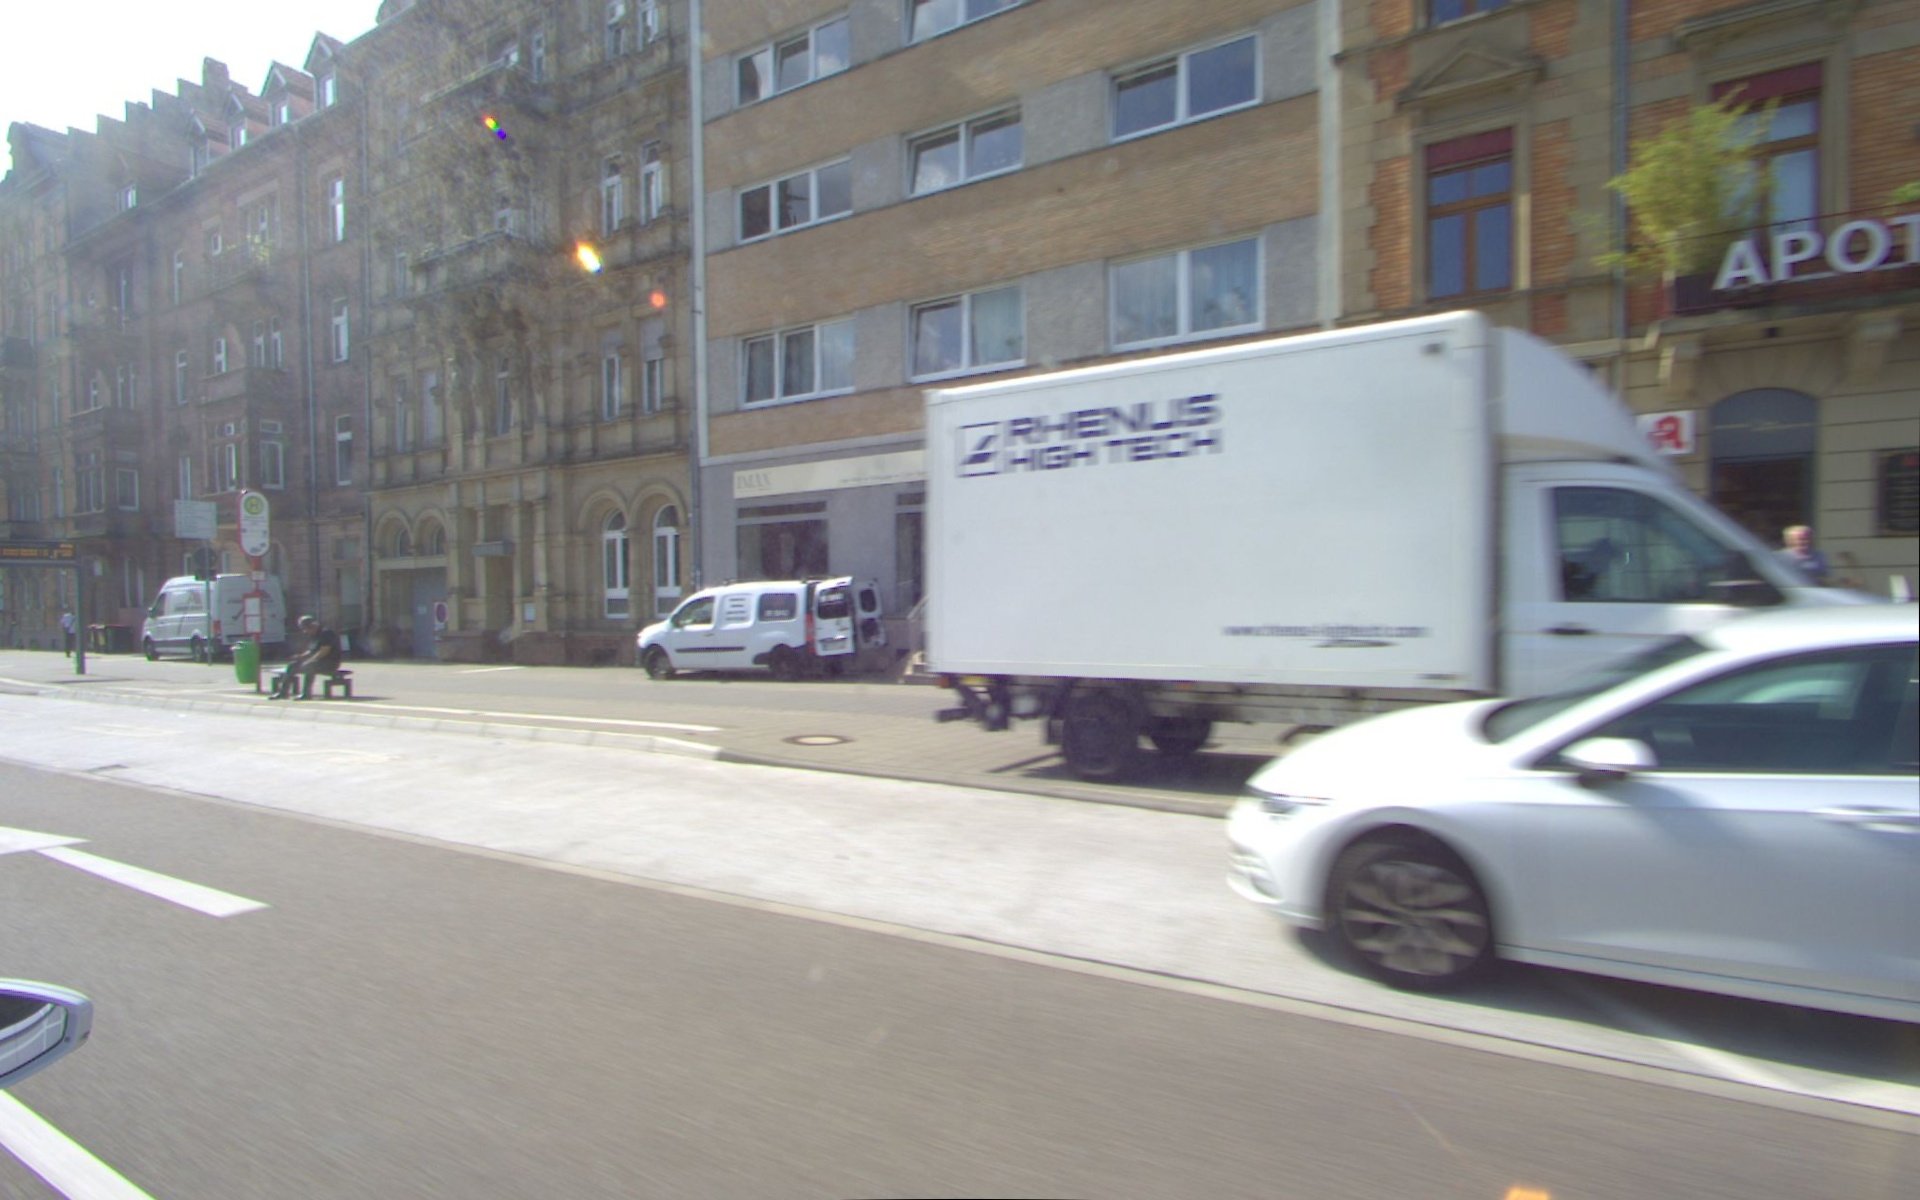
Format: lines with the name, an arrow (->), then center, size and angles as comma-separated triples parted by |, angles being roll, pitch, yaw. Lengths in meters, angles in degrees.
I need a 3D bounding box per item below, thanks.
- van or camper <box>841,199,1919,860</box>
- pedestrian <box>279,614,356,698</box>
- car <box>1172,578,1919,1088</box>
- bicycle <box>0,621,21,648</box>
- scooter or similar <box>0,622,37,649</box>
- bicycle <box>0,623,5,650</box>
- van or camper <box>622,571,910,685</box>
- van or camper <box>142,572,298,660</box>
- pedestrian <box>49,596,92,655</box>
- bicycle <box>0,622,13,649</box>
van or camper -> 2.821, -0.297, 8.130 | 7.534, 3.375, 2.705 | -1, 0, 34
pedestrian -> -10.491, 0.911, 16.367 | 0.806, 1.333, 0.745 | 0, -1, -6
car -> 3.211, 0.710, 3.882 | 4.284, 1.457, 1.784 | -2, 3, 34
bicycle -> -42.478, 1.520, 43.606 | 0.673, 1.196, 2.188 | 0, 0, 27
scooter or similar -> -40.135, 1.510, 42.345 | 0.445, 1.112, 1.560 | -1, 0, 35
bicycle -> -43.746, 1.632, 44.198 | 0.673, 1.196, 2.188 | 0, 0, 27
van or camper -> -3.750, 0.512, 19.237 | 5.212, 1.931, 1.992 | -1, 2, 25
van or camper -> -22.765, 0.478, 30.730 | 5.485, 2.507, 1.989 | -1, 0, 32
pedestrian -> -31.325, 0.914, 35.248 | 0.982, 2.039, 0.884 | -1, -2, 32
bicycle -> -43.152, 1.581, 43.947 | 0.673, 1.196, 2.188 | 0, 0, 27
